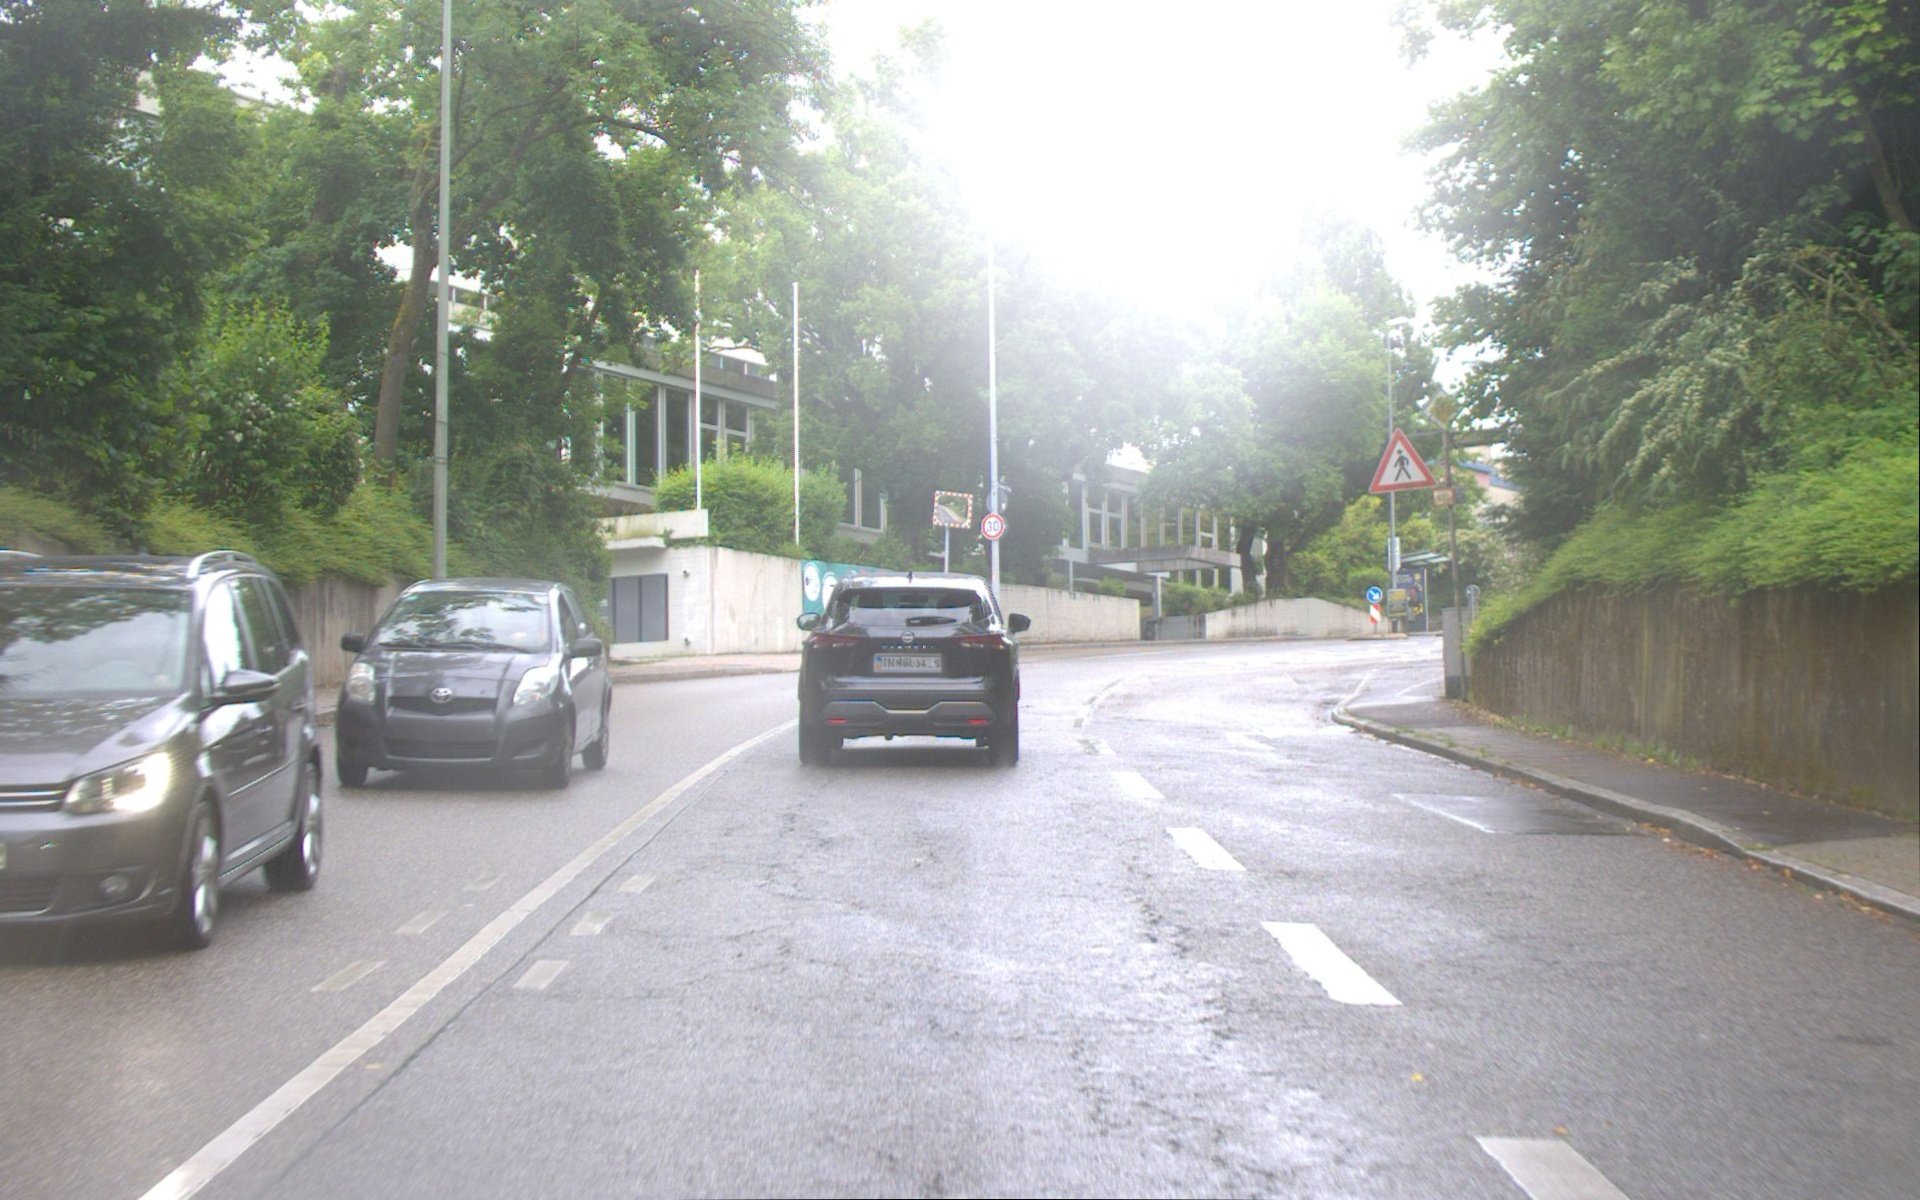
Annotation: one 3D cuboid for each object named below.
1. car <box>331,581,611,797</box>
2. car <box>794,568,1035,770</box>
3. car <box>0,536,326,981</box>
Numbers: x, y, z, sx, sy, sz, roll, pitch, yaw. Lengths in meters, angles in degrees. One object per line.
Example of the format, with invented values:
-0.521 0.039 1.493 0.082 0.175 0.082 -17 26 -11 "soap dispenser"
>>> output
-3.611 0.615 25.906 1.675 1.491 3.460 0 0 -1 "car"
-0.391 0.536 29.653 1.928 1.607 4.000 0 1 -1 "car"
-4.008 0.590 15.141 1.830 1.705 4.000 0 0 -2 "car"
